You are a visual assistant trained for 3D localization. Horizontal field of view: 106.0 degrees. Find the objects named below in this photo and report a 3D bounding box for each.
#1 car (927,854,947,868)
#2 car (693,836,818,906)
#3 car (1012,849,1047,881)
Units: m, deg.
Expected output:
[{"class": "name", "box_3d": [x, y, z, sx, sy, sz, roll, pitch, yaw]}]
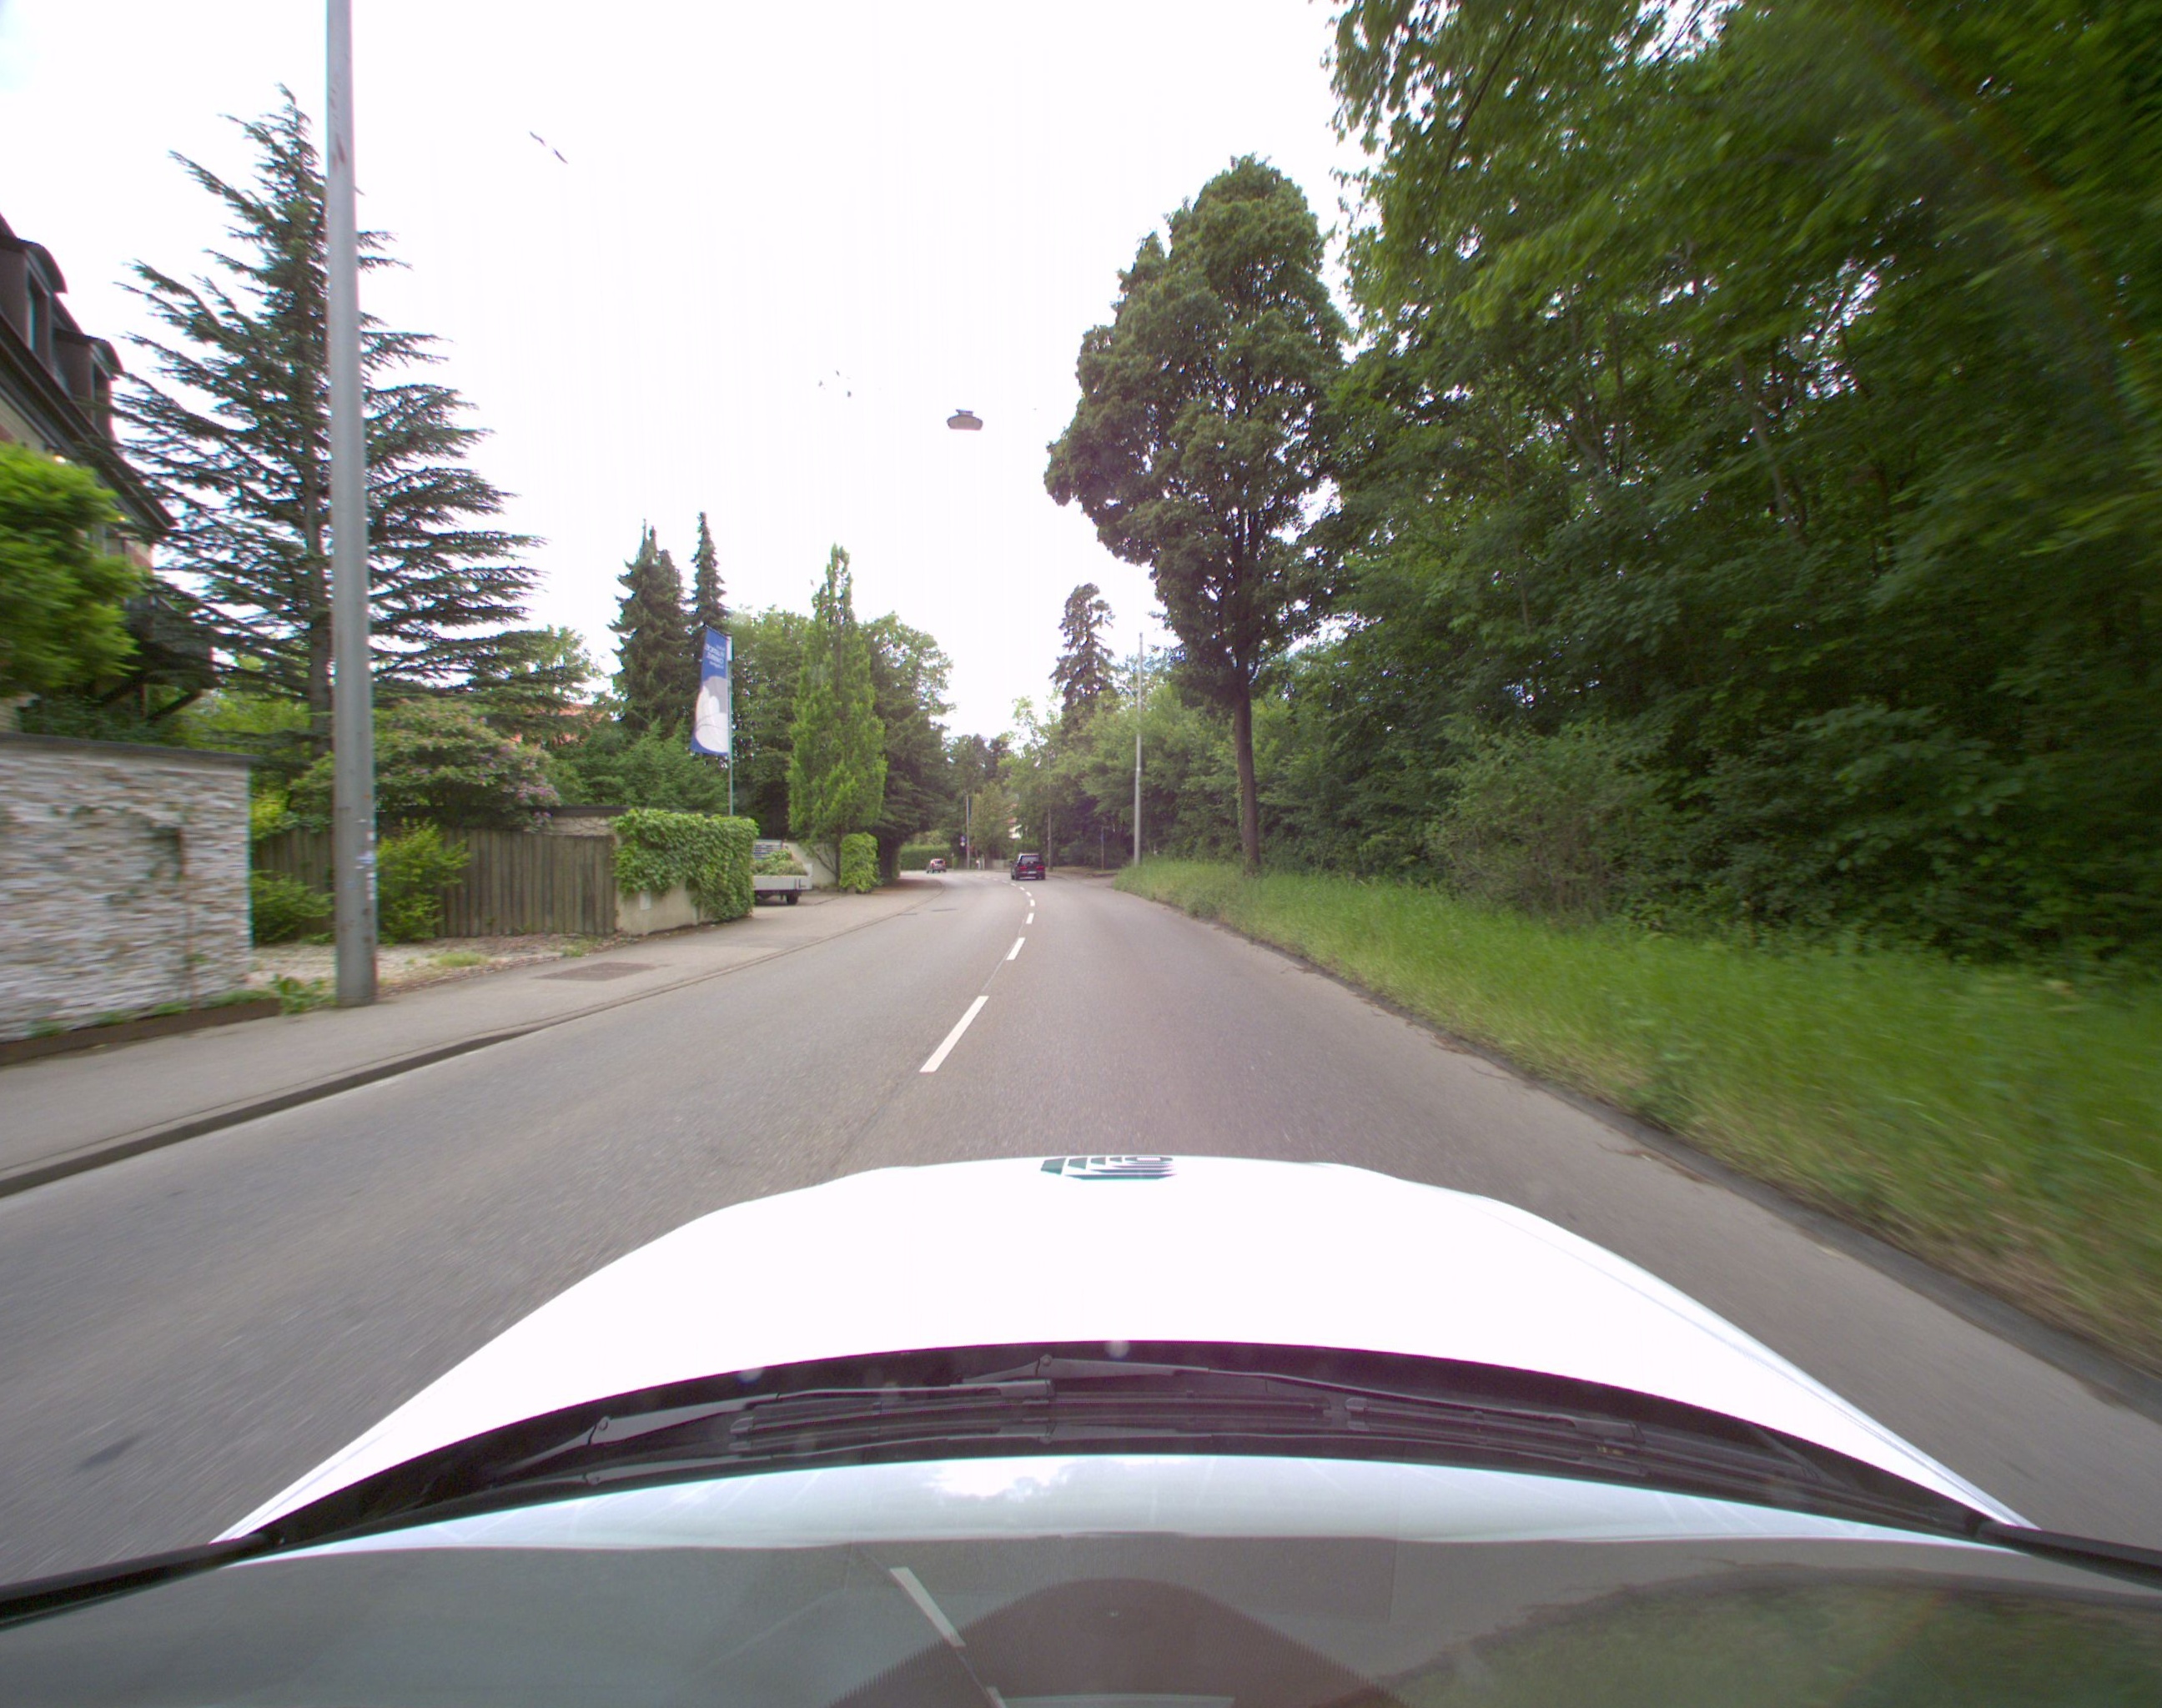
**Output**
[{"class": "car", "box_3d": [-17.083, 0.820, 96.426, 1.996, 1.618, 3.981, -1, 1, -14]}, {"class": "car", "box_3d": [-10.949, 0.517, 27.162, 2.438, 2.073, 5.300, -1, 0, -39]}, {"class": "car", "box_3d": [-3.353, 0.664, 52.461, 1.992, 1.881, 3.990, -1, 1, -7]}]
